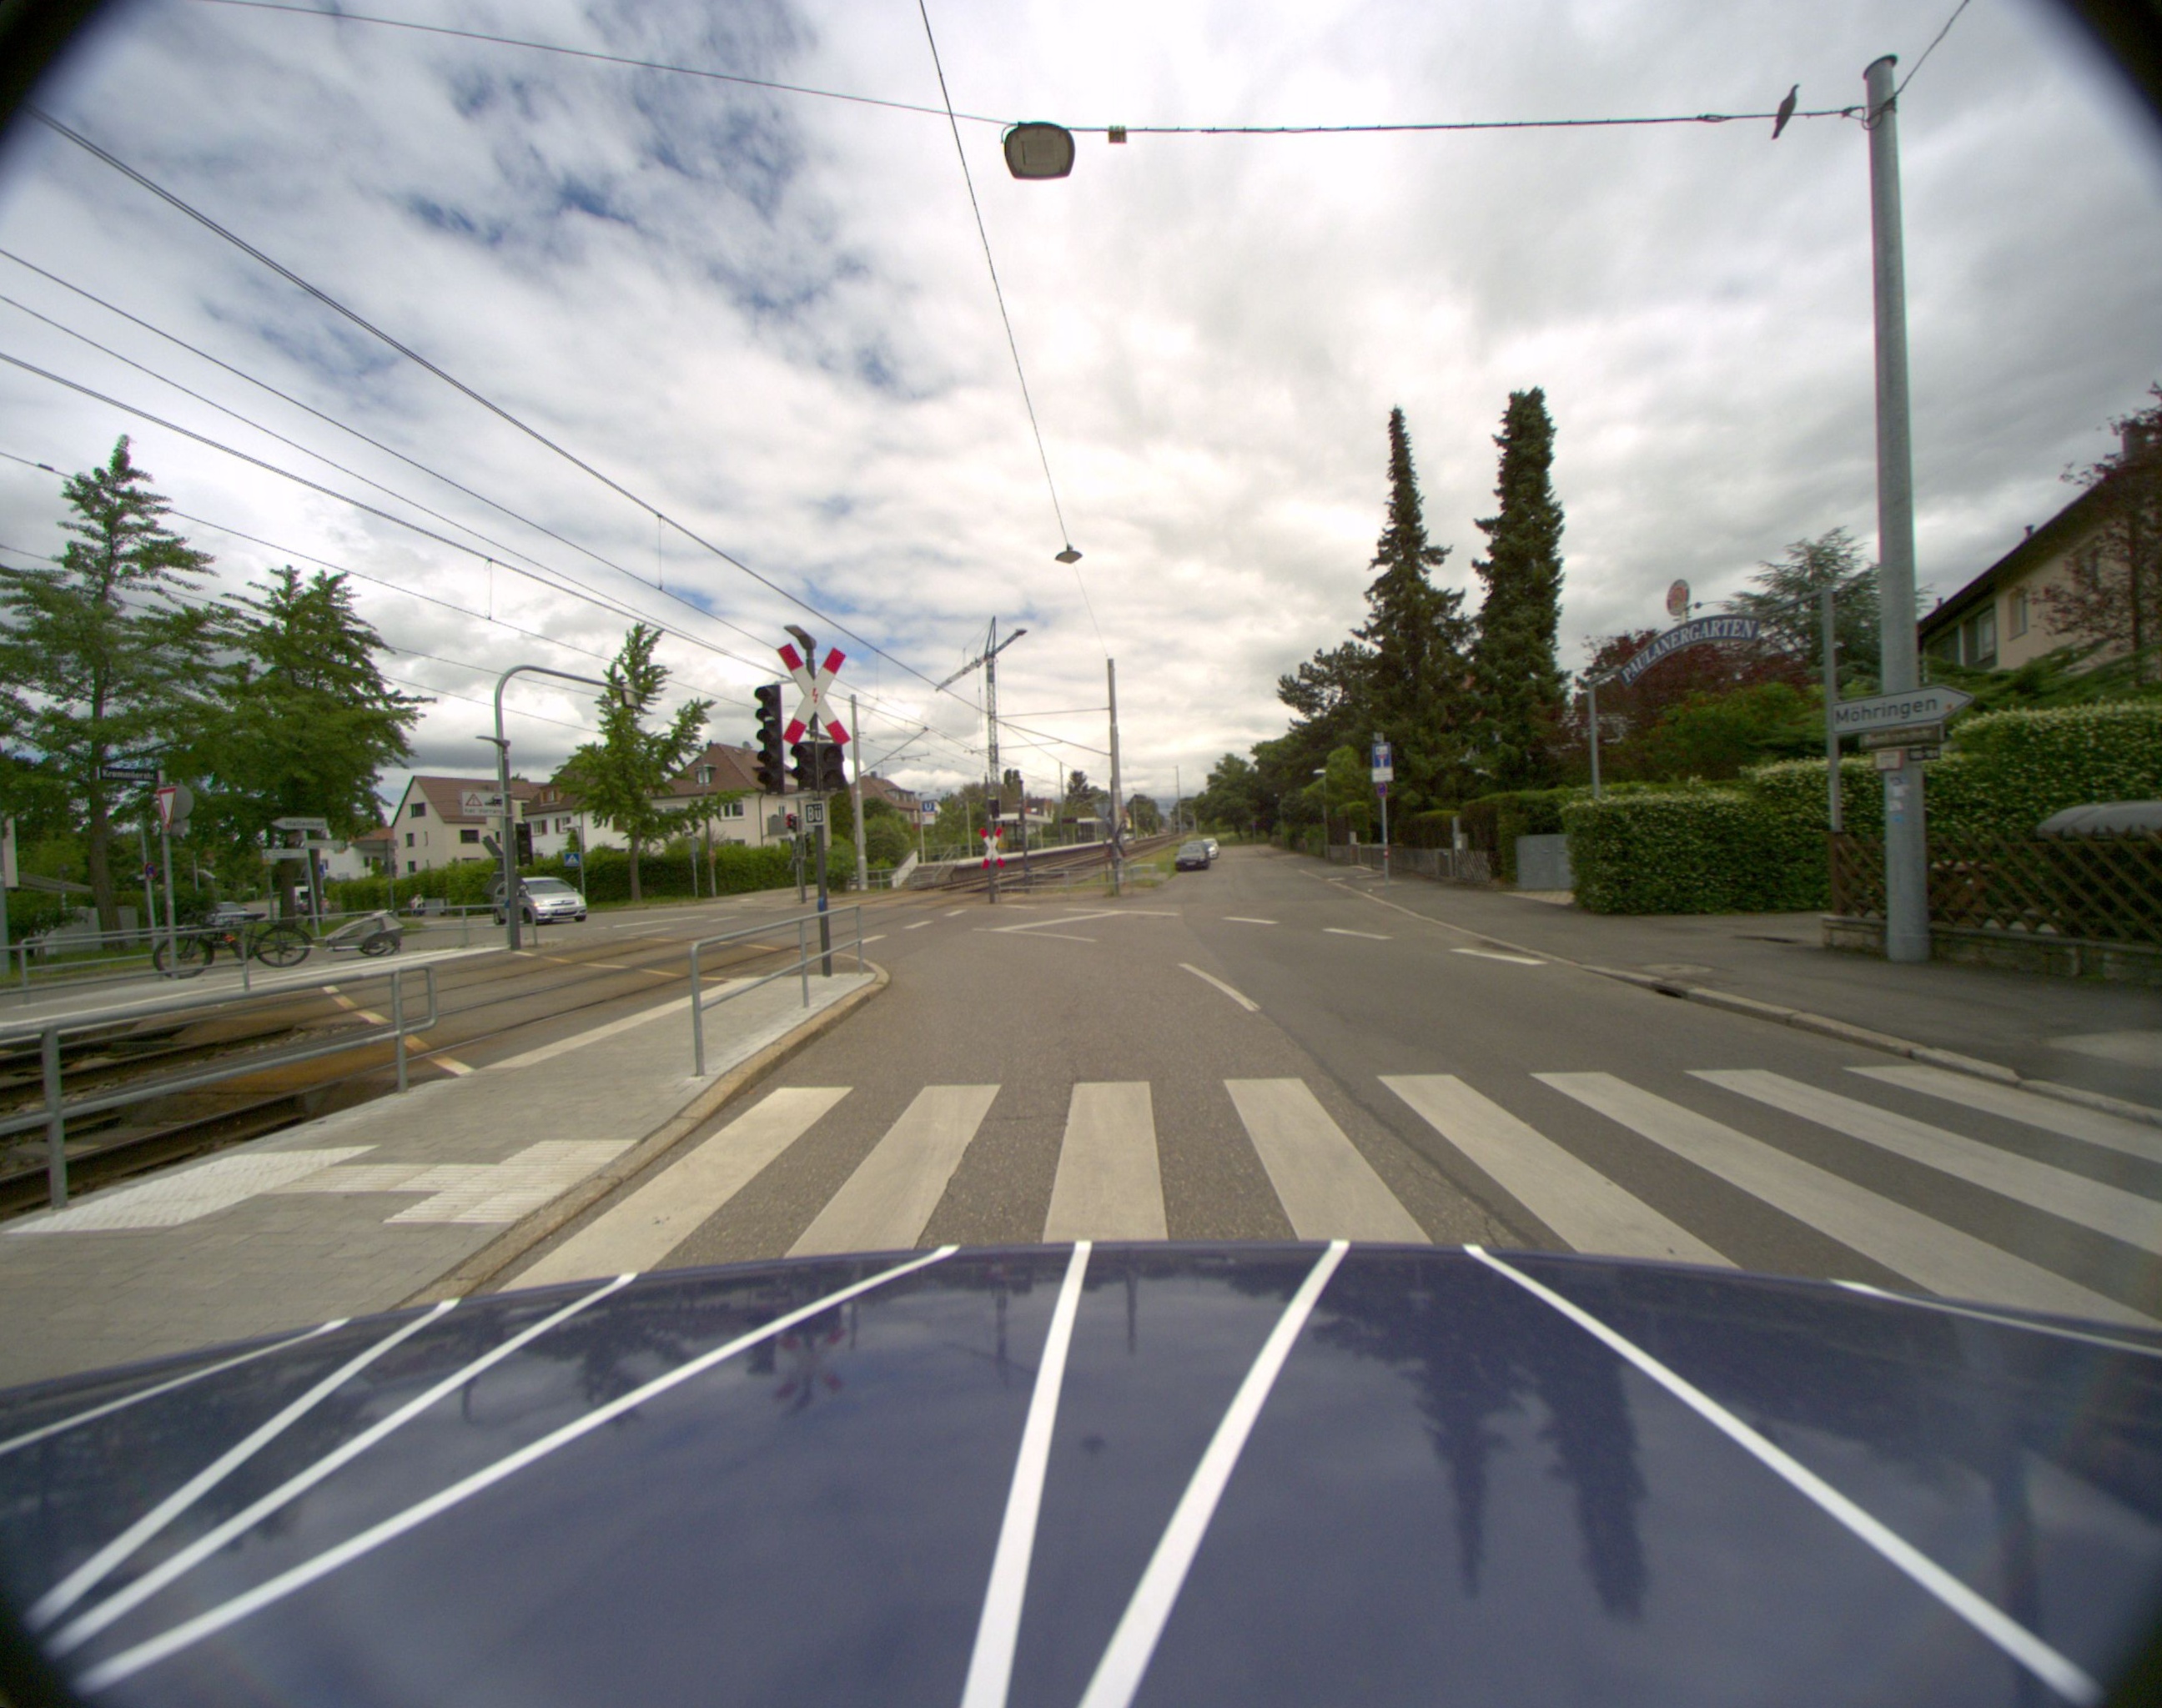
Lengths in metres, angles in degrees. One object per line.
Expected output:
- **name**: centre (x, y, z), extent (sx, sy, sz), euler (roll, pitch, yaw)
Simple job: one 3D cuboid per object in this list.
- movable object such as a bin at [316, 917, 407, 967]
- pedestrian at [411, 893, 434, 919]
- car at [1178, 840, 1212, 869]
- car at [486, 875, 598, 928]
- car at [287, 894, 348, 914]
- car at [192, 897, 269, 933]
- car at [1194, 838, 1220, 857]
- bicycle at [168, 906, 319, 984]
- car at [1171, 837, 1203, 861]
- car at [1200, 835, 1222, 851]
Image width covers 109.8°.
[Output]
- **movable object such as a bin**: centre (-13.844, 1.677, 14.643), extent (0.578, 0.820, 1.096), euler (-3, 1, 29)
- **pedestrian**: centre (-40.473, 3.203, 46.701), extent (0.543, 1.522, 0.750), euler (-3, 2, 21)
- **car**: centre (6.681, 0.007, 44.514), extent (1.820, 1.493, 4.121), euler (-3, 1, 9)
- **car**: centre (-18.206, 1.586, 25.631), extent (3.917, 1.559, 1.730), euler (-3, 1, 34)
- **car**: centre (-76.361, 4.989, 76.020), extent (1.880, 1.718, 4.007), euler (-3, 0, 36)
- **car**: centre (-45.555, 3.262, 40.676), extent (4.454, 1.627, 1.856), euler (-3, 2, 31)
- **car**: centre (10.206, -0.544, 61.366), extent (1.852, 1.368, 4.002), euler (-3, 1, 11)
- **bicycle**: centre (-14.855, 1.586, 13.534), extent (0.465, 1.149, 1.695), euler (-2, 1, 26)
- **car**: centre (7.346, -0.376, 52.430), extent (1.852, 1.472, 4.002), euler (-3, 1, 11)
- **car**: centre (12.385, -1.054, 72.108), extent (1.852, 1.368, 4.002), euler (-3, 1, 11)
